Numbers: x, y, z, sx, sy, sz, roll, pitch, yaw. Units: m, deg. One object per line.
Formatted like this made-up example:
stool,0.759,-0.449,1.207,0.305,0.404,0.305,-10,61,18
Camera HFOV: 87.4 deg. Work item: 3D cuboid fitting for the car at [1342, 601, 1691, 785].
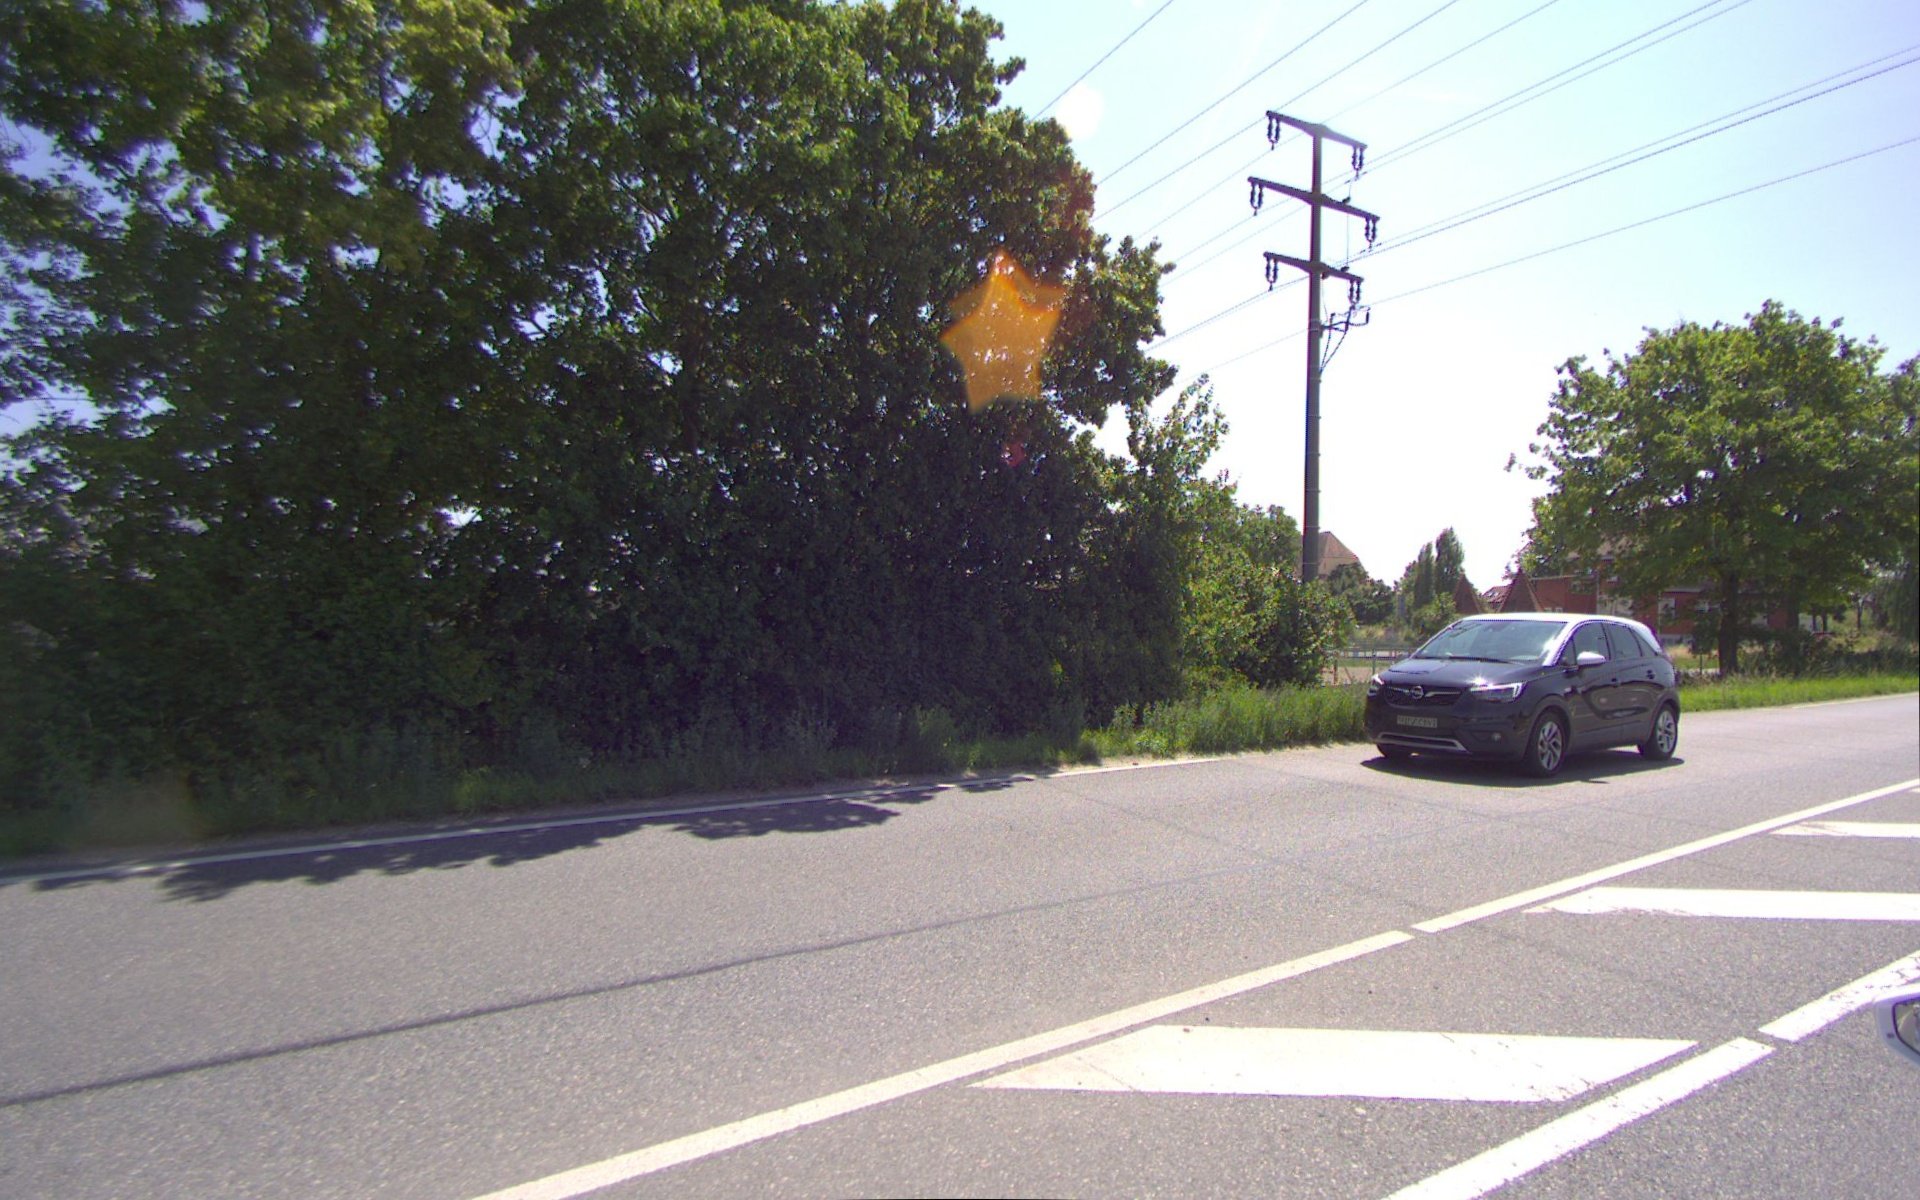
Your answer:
car,6.001,0.857,10.702,3.918,1.611,1.721,1,0,-35
